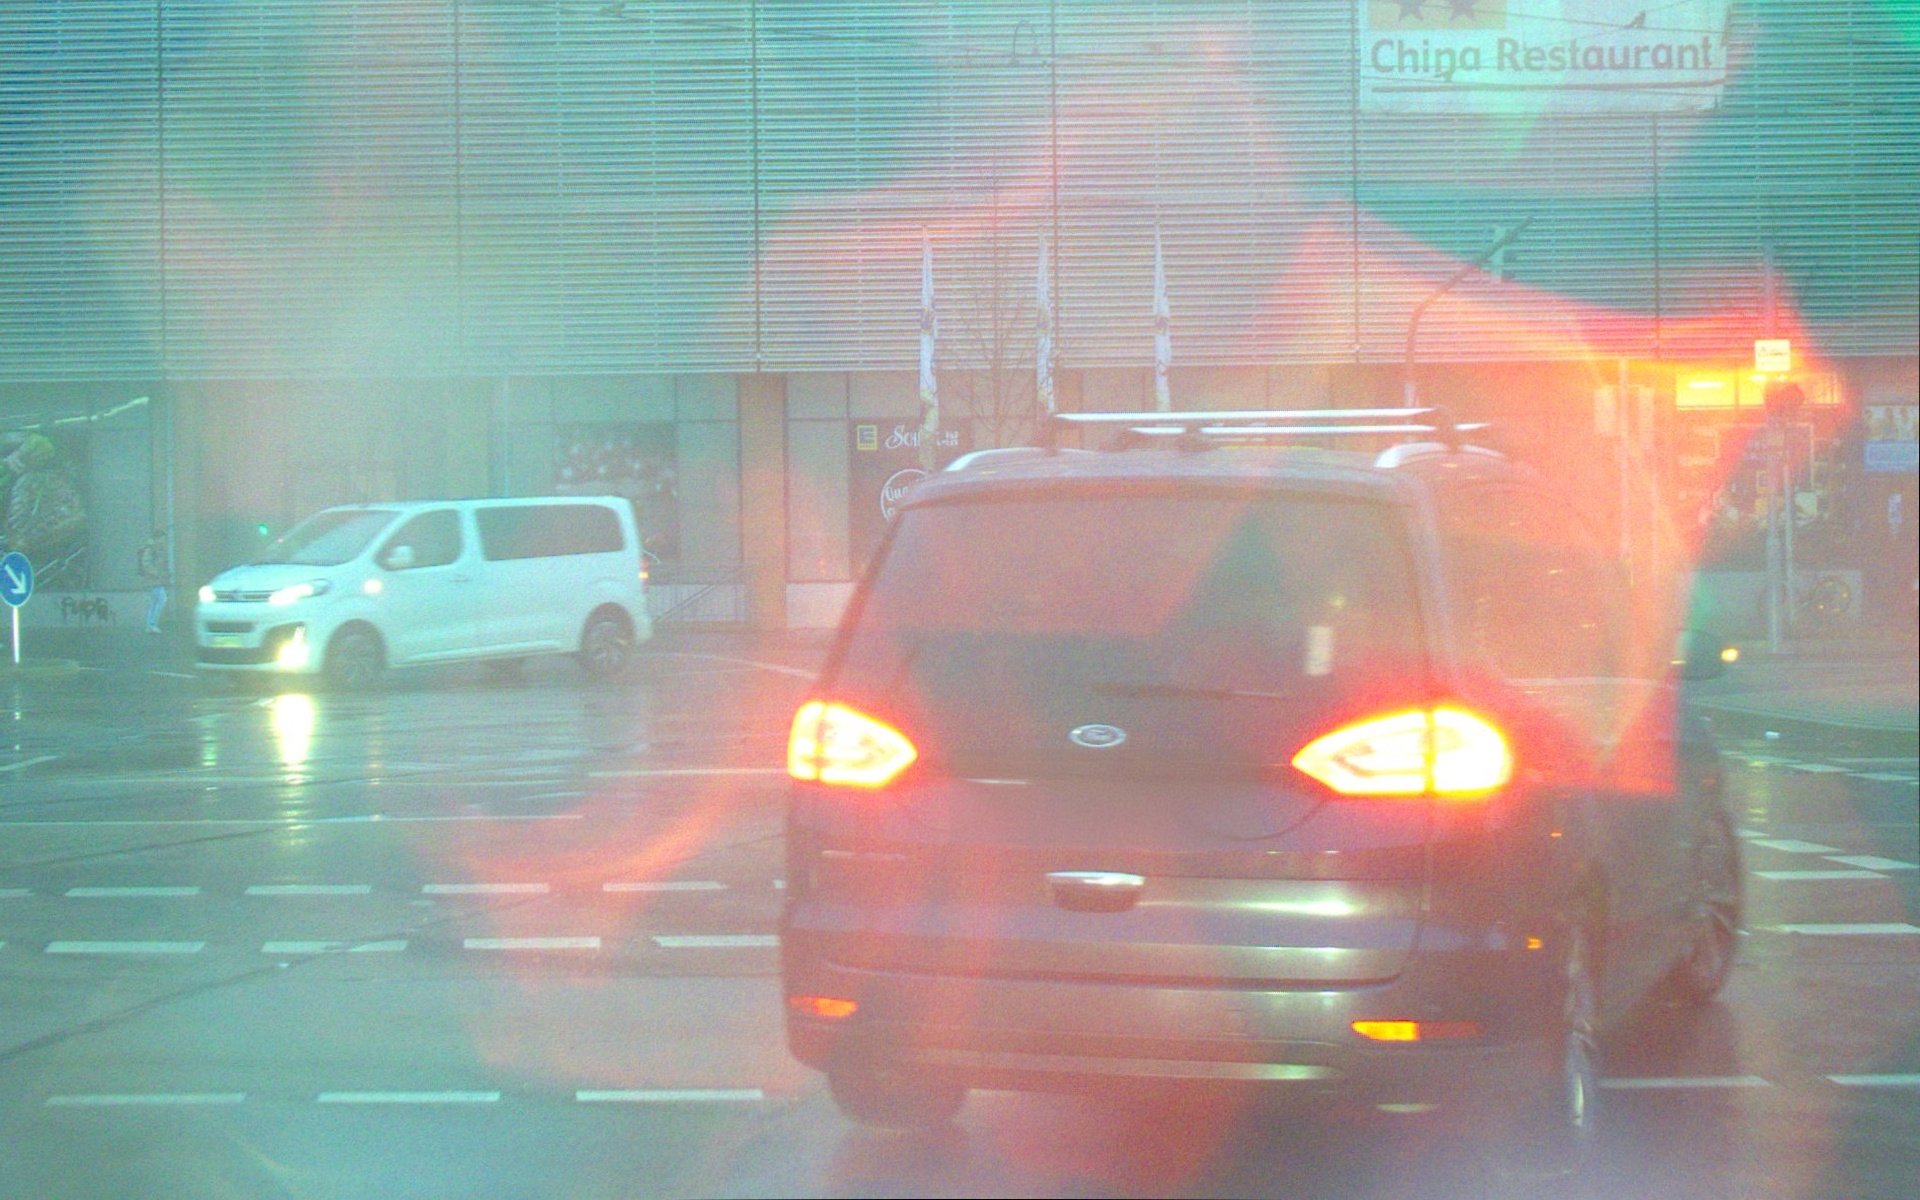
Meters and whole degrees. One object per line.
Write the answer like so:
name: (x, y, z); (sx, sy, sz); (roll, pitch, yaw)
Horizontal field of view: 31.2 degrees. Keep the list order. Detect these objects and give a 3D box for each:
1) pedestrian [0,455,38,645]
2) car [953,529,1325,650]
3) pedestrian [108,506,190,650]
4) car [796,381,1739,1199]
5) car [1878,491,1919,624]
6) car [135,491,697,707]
pedestrian: (-14.985, -0.781, 53.406); (0.963, 2.915, 1.114); (1, 0, 2)
car: (2.269, -0.153, 43.311); (4.408, 1.440, 1.630); (-1, 1, -24)
pedestrian: (-13.798, -0.374, 58.524); (1.110, 2.431, 0.966); (1, 0, 2)
car: (1.047, 0.414, 9.179); (1.675, 1.773, 3.997); (1, 1, 17)
car: (14.591, -0.584, 45.066); (4.595, 1.713, 1.930); (-1, 1, 0)
car: (-5.476, -0.066, 35.315); (1.952, 2.052, 5.647); (0, 1, 44)
